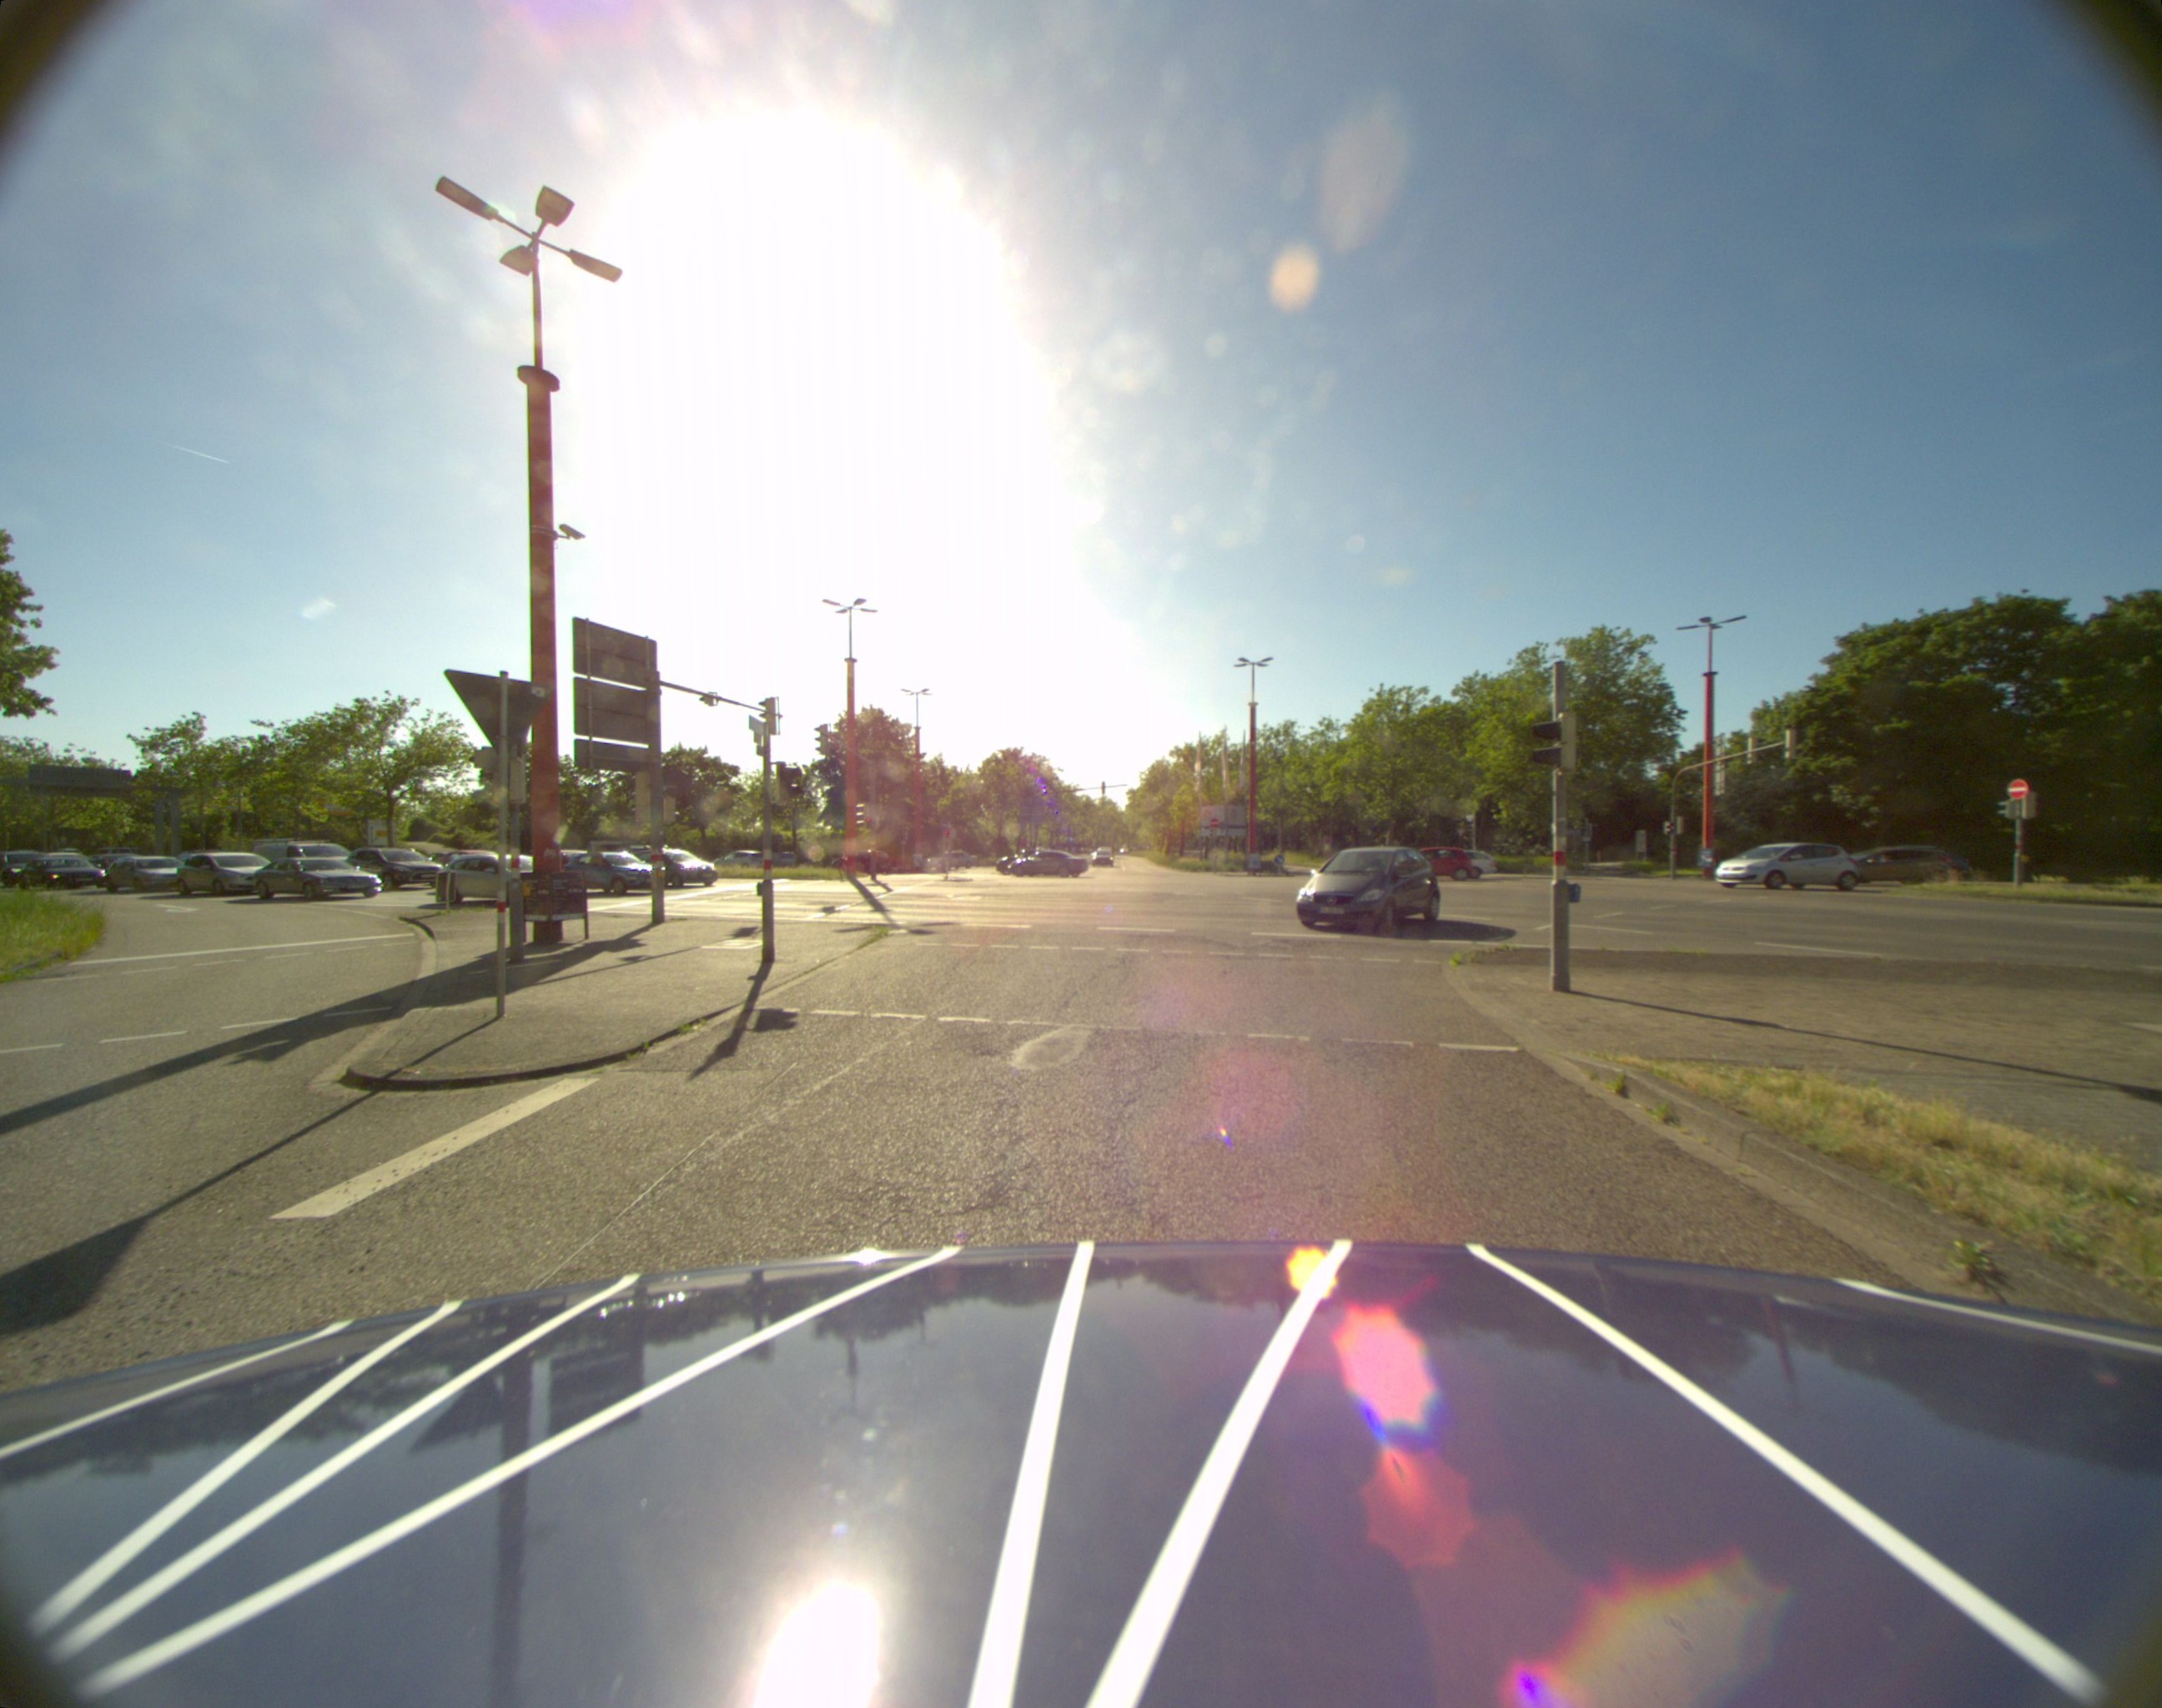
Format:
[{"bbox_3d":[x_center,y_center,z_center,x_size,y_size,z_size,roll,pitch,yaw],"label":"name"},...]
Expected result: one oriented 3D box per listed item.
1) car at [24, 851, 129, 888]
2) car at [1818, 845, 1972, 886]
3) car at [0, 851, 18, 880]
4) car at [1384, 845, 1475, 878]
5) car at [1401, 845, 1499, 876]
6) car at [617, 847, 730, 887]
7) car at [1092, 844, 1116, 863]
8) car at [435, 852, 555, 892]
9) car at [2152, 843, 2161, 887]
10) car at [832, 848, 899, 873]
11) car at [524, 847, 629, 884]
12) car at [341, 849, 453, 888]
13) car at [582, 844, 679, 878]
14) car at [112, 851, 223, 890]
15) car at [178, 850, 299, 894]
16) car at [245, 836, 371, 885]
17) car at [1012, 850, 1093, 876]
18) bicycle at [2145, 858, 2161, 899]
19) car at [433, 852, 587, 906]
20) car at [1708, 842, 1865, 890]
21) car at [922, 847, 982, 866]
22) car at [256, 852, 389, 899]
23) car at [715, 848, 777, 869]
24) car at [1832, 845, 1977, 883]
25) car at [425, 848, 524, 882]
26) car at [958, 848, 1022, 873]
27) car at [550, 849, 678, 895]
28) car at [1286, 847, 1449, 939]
[{"bbox_3d":[-45.136,0.663,34.139,3.990,1.502,1.802,0,2,22],"label":"car"},{"bbox_3d":[31.505,0.418,29.528,3.778,1.501,1.616,0,0,18],"label":"car"},{"bbox_3d":[-57.862,0.621,39.655,3.990,1.502,1.802,0,2,22],"label":"car"},{"bbox_3d":[16.046,0.324,35.132,3.663,1.450,1.591,0,1,19],"label":"car"},{"bbox_3d":[18.427,0.317,38.112,4.237,1.501,1.803,0,0,19],"label":"car"},{"bbox_3d":[-16.444,0.493,30.677,3.990,1.473,1.802,0,2,22],"label":"car"},{"bbox_3d":[2.016,-0.056,64.868,1.798,1.501,4.001,0,1,5],"label":"car"},{"bbox_3d":[-22.426,0.649,29.072,3.990,1.384,1.802,0,2,22],"label":"car"},{"bbox_3d":[38.451,0.381,24.323,4.616,1.501,1.792,0,0,19],"label":"car"},{"bbox_3d":[-12.779,0.365,45.069,3.530,1.422,1.616,0,0,19],"label":"car"},{"bbox_3d":[-21.967,0.458,33.113,3.990,1.502,1.802,0,2,22],"label":"car"},{"bbox_3d":[-28.345,0.571,31.503,3.990,1.498,1.802,0,2,22],"label":"car"},{"bbox_3d":[-21.173,0.303,35.703,3.990,1.502,1.802,0,2,22],"label":"car"},{"bbox_3d":[-38.356,0.652,31.908,3.990,1.502,1.802,0,2,22],"label":"car"},{"bbox_3d":[-32.645,0.656,29.439,3.990,1.576,1.802,0,2,22],"label":"car"},{"bbox_3d":[-35.086,0.255,34.483,5.181,2.075,2.095,0,2,22],"label":"car"},{"bbox_3d":[-1.537,0.460,41.073,3.991,1.361,1.803,0,0,20],"label":"car"},{"bbox_3d":[29.855,0.686,20.198,0.500,1.101,1.799,0,1,-4],"label":"bicycle"},{"bbox_3d":[-17.671,0.719,23.512,4.275,1.473,1.802,0,2,22],"label":"car"},{"bbox_3d":[24.206,0.390,26.146,3.903,1.579,1.704,0,0,-3],"label":"car"},{"bbox_3d":[-10.414,0.156,61.573,1.795,1.501,4.648,1,1,43],"label":"car"},{"bbox_3d":[-26.524,0.706,26.572,3.990,1.502,1.802,0,2,22],"label":"car"},{"bbox_3d":[-23.187,0.327,52.570,3.857,1.407,1.616,0,0,20],"label":"car"},{"bbox_3d":[34.282,0.390,31.749,3.777,1.497,1.616,0,0,20],"label":"car"},{"bbox_3d":[-28.265,0.464,35.411,3.990,1.473,1.802,0,2,22],"label":"car"},{"bbox_3d":[-5.566,0.378,46.553,3.530,1.497,1.616,0,0,18],"label":"car"},{"bbox_3d":[-16.677,0.602,27.154,3.990,1.473,1.802,0,2,22],"label":"car"},{"bbox_3d":[5.977,0.687,15.639,1.794,1.581,3.770,1,2,44],"label":"car"}]
